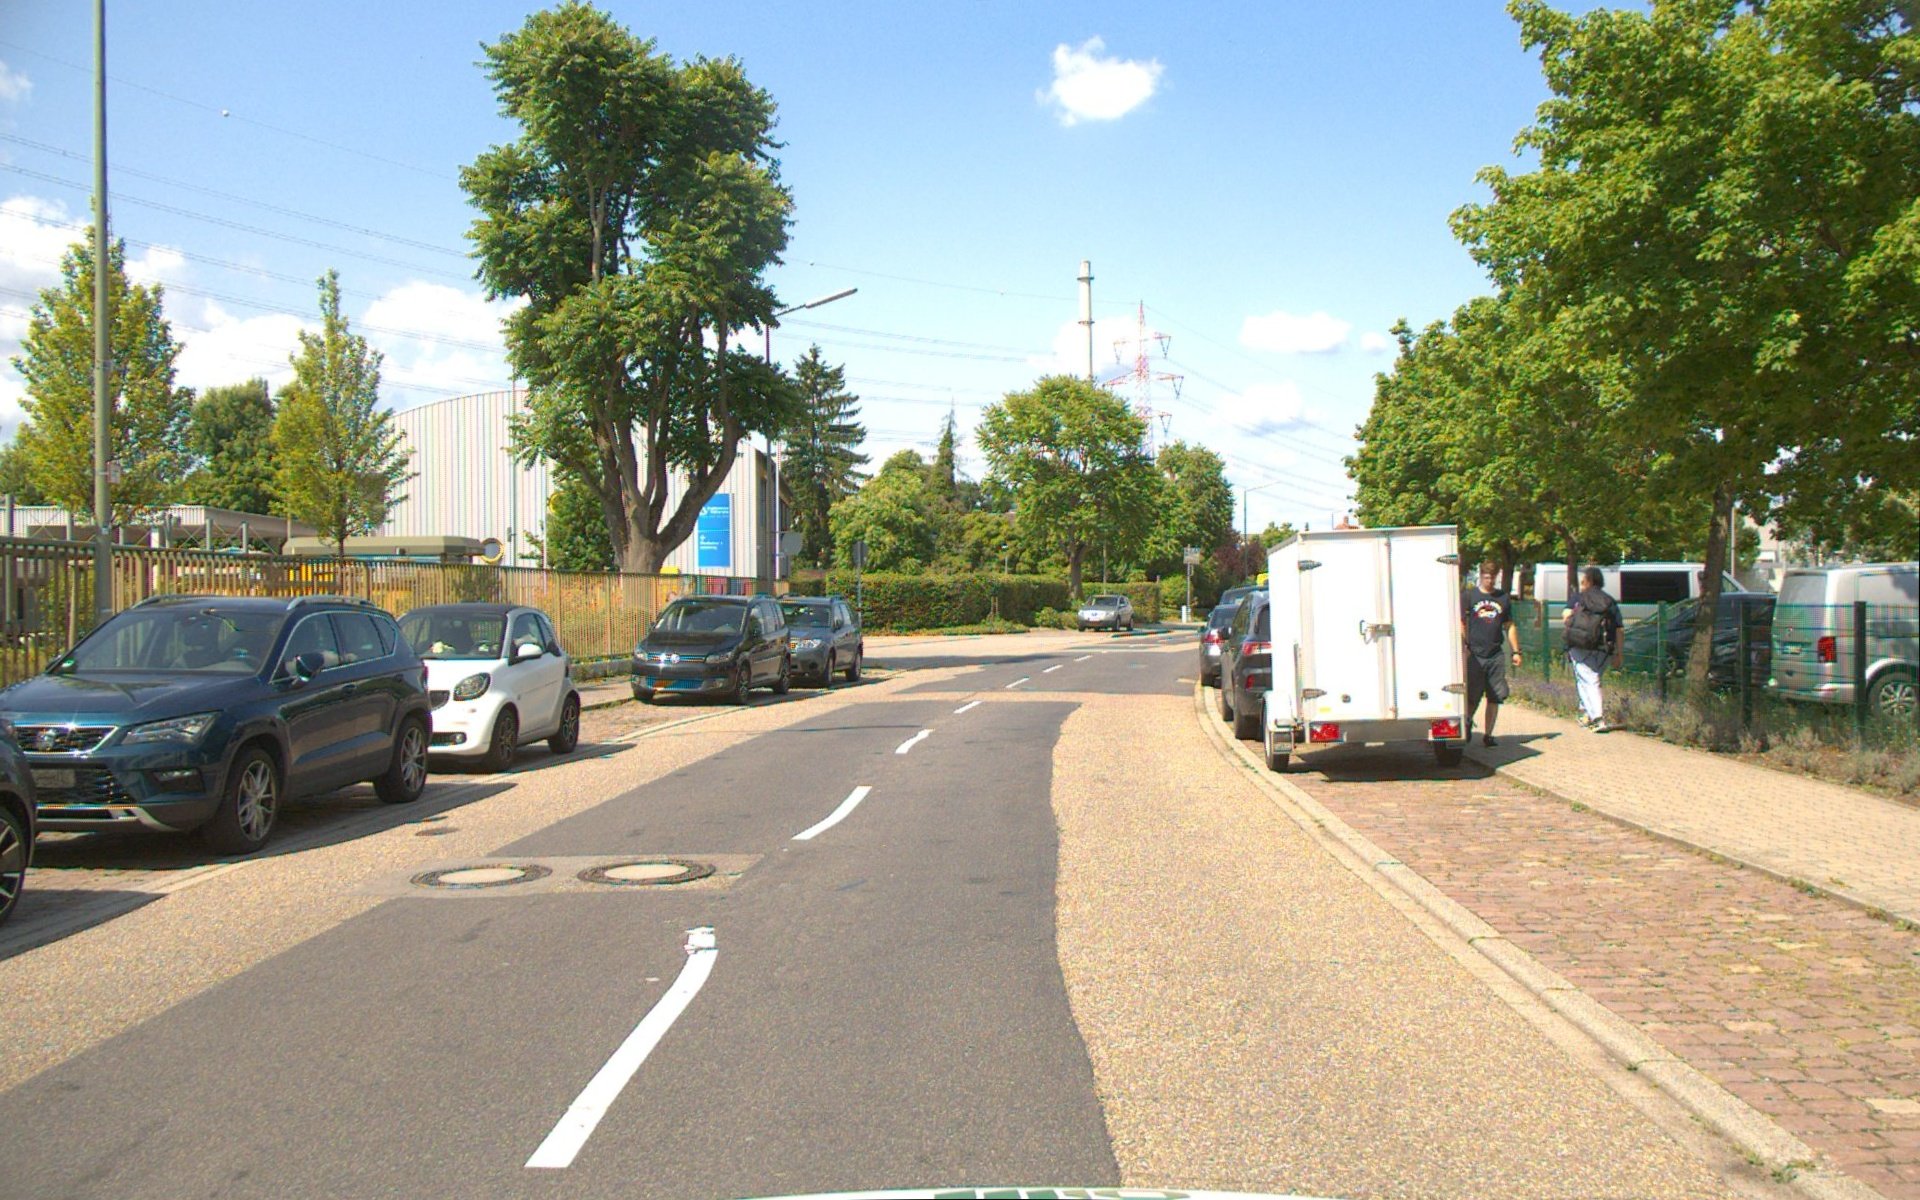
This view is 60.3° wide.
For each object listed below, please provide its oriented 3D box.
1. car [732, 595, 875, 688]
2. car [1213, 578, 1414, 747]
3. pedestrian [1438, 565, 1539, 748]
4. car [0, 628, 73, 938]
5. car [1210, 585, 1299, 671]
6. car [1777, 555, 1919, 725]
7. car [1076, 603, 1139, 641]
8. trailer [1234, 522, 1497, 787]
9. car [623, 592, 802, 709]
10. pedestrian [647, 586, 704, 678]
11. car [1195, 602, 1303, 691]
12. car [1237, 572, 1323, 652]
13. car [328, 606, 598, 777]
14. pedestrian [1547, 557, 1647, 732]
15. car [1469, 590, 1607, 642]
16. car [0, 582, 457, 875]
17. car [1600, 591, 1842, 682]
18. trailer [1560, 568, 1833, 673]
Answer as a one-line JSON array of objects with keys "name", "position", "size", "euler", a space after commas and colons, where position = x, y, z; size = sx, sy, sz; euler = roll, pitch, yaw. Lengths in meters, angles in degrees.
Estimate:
[{"name": "car", "position": [-2.970, 0.768, 32.421], "size": [1.760, 1.679, 4.693], "euler": [1, 0, 8]}, {"name": "car", "position": [4.133, 0.686, 20.031], "size": [1.821, 1.712, 4.713], "euler": [-3, -1, 6]}, {"name": "pedestrian", "position": [5.040, 0.529, 15.805], "size": [0.711, 1.675, 0.580], "euler": [-3, 0, 3]}, {"name": "car", "position": [-5.458, 0.865, 6.562], "size": [1.698, 1.470, 3.931], "euler": [1, 0, 1]}, {"name": "car", "position": [6.862, 0.635, 38.427], "size": [1.810, 1.796, 5.081], "euler": [-3, -1, 11]}, {"name": "car", "position": [12.826, 0.438, 20.497], "size": [4.373, 2.000, 2.001], "euler": [-2, -1, 6]}, {"name": "car", "position": [6.525, 0.949, 72.611], "size": [1.721, 1.601, 4.478], "euler": [0, -1, 19]}, {"name": "trailer", "position": [3.692, 0.470, 15.732], "size": [1.709, 2.103, 3.949], "euler": [-3, -1, 5]}, {"name": "car", "position": [-3.900, 0.761, 26.803], "size": [1.737, 1.712, 4.233], "euler": [1, 0, 8]}, {"name": "pedestrian", "position": [-5.618, 0.626, 32.709], "size": [0.810, 1.792, 0.846], "euler": [1, -1, 14]}, {"name": "car", "position": [5.398, 0.839, 31.397], "size": [1.802, 1.486, 4.872], "euler": [-3, -1, 8]}, {"name": "car", "position": [10.969, 0.417, 56.336], "size": [2.111, 2.508, 6.643], "euler": [-2, -1, 17]}, {"name": "car", "position": [-4.871, 0.839, 16.612], "size": [1.574, 1.549, 3.076], "euler": [0, 0, 5]}, {"name": "pedestrian", "position": [6.446, 0.444, 16.774], "size": [0.706, 1.723, 0.740], "euler": [-2, -1, 3]}, {"name": "car", "position": [19.865, 0.558, 57.028], "size": [4.224, 1.650, 1.765], "euler": [-2, -1, 11]}, {"name": "car", "position": [-5.146, 0.749, 11.684], "size": [1.697, 1.685, 4.312], "euler": [0, 0, 3]}, {"name": "car", "position": [14.599, 0.693, 31.912], "size": [3.902, 1.665, 1.695], "euler": [-1, 0, 8]}, {"name": "trailer", "position": [15.607, 0.452, 35.316], "size": [4.939, 2.119, 2.063], "euler": [-1, -1, 9]}]
